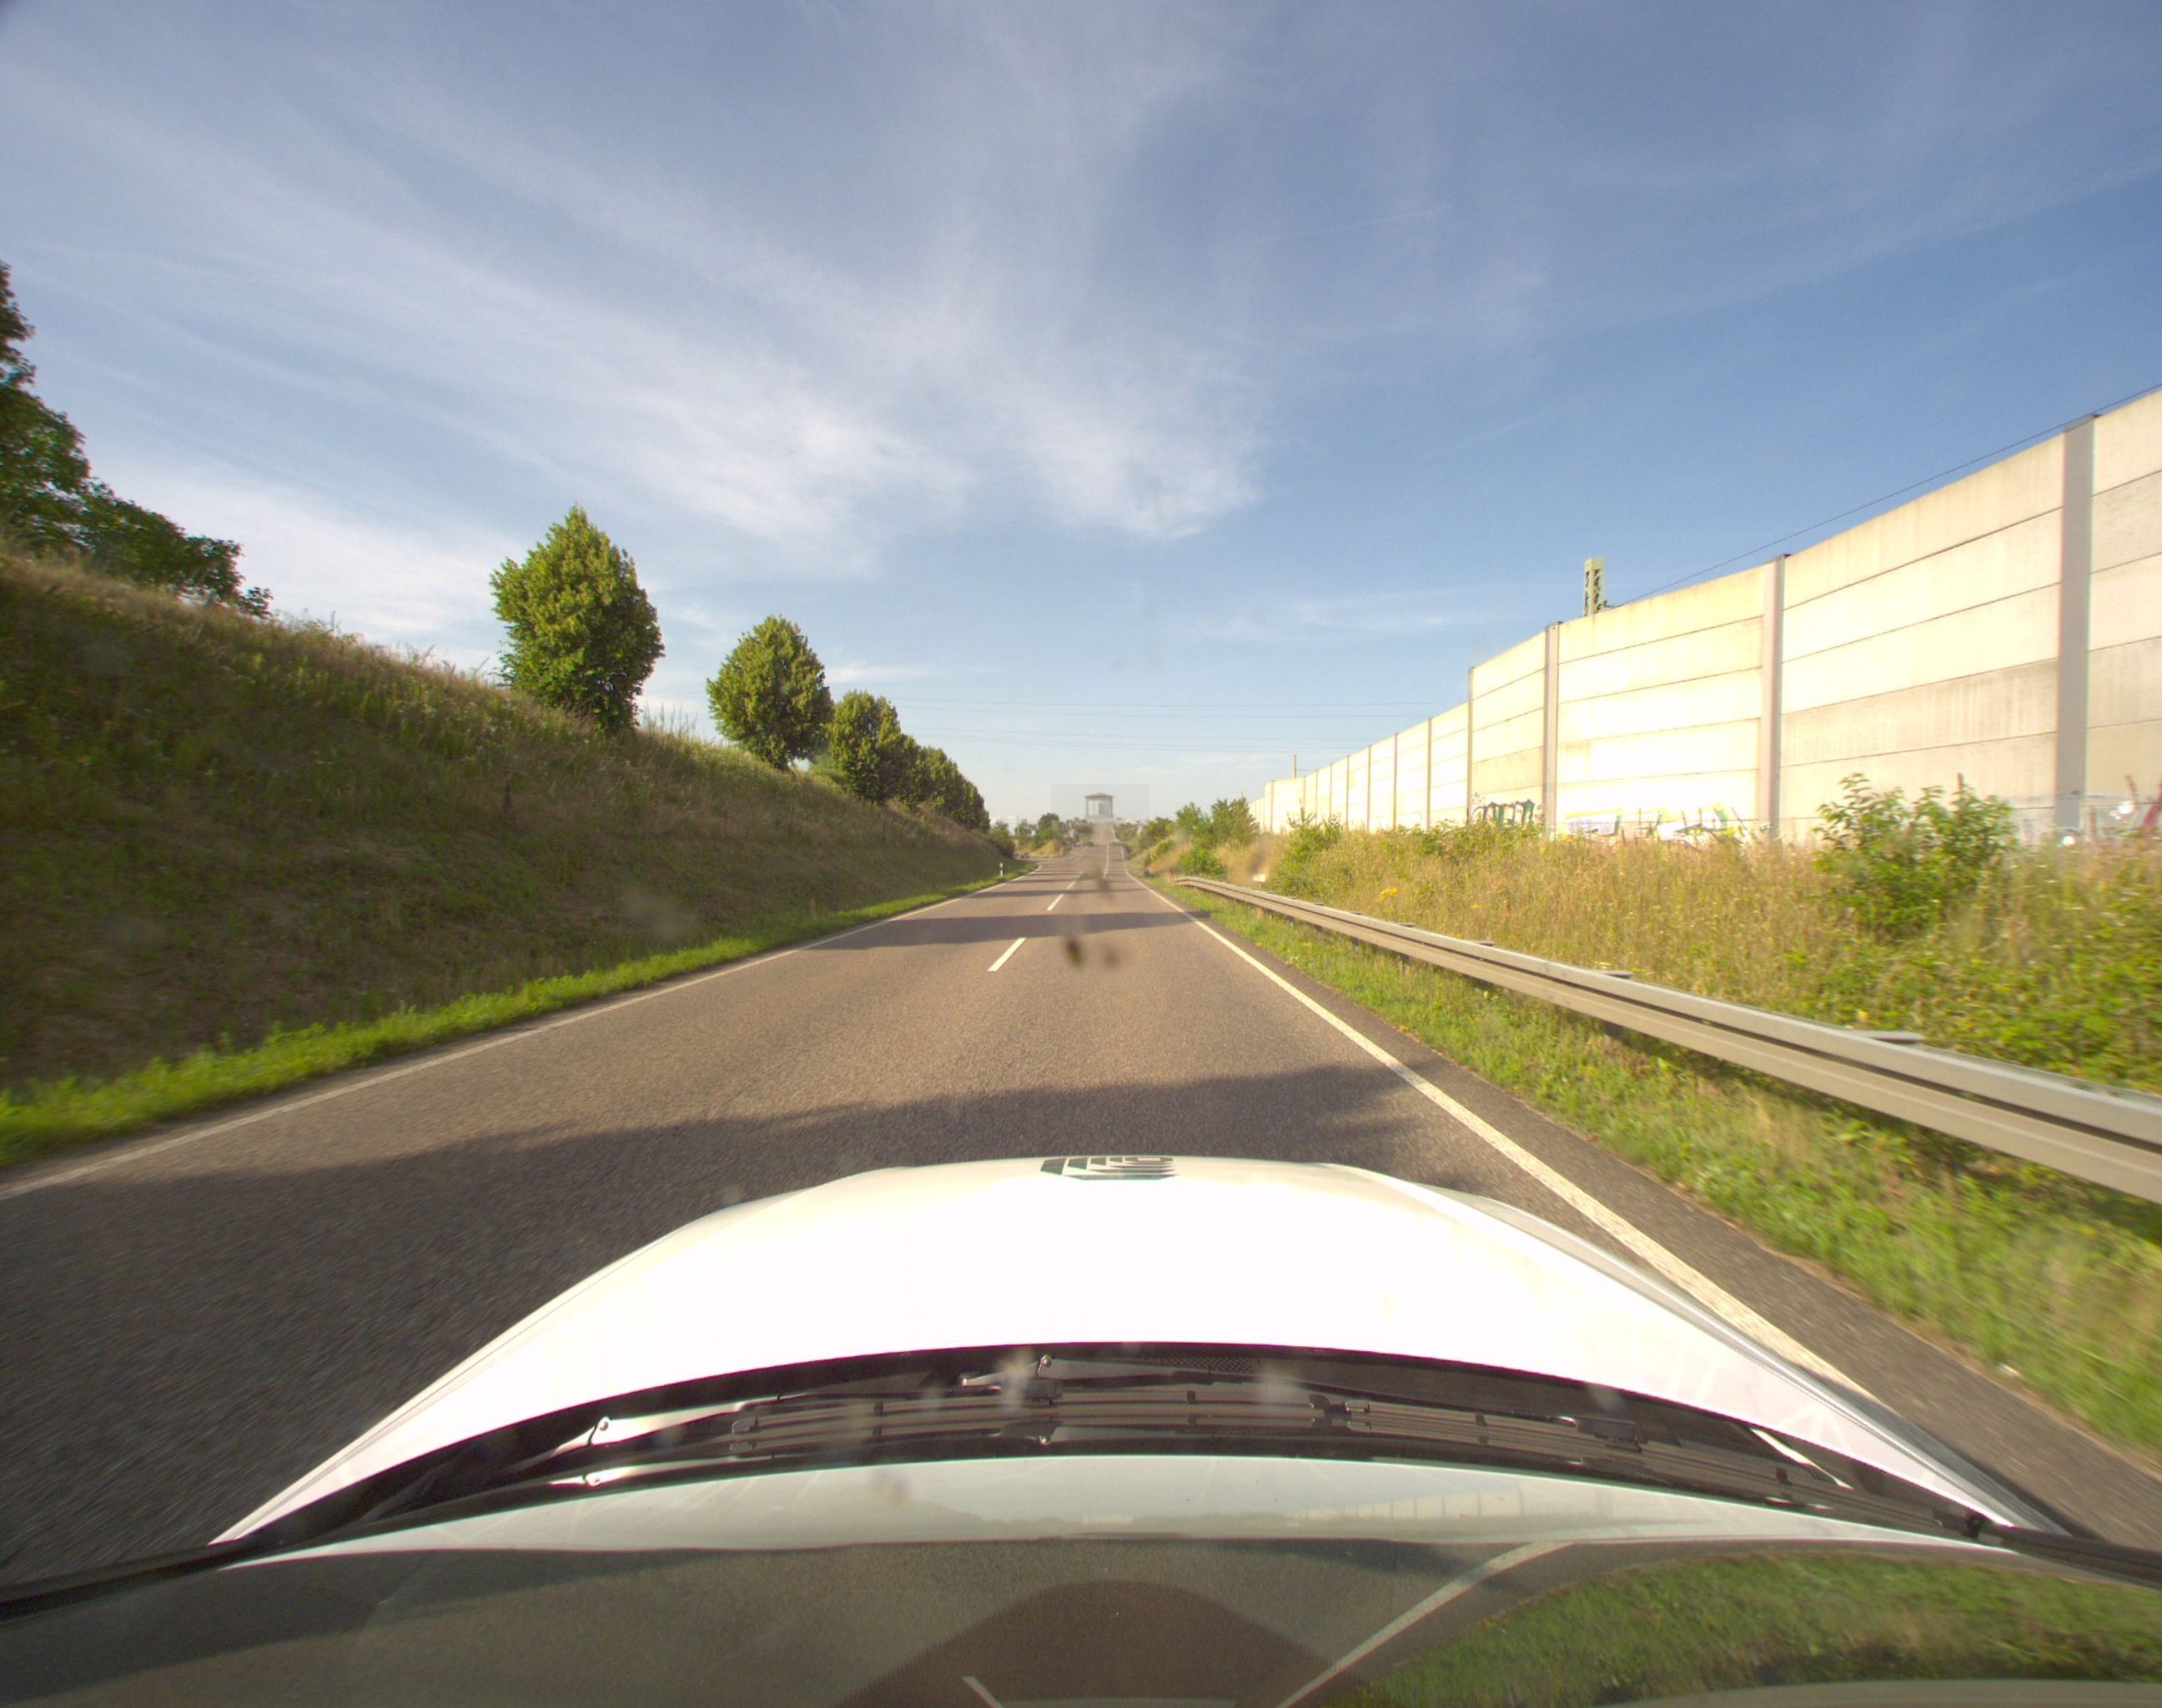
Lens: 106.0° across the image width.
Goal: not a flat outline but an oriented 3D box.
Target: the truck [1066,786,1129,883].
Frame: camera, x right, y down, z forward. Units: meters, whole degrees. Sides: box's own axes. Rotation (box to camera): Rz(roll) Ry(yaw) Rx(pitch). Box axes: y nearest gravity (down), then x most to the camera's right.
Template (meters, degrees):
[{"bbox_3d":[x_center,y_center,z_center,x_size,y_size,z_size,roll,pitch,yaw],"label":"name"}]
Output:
[{"bbox_3d":[0.934,-1.115,49.009,3.279,5.089,12.039,0,1,1],"label":"truck"}]

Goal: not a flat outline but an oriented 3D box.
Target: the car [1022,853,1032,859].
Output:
[{"bbox_3d":[-13.821,0.433,209.524,2.038,1.581,4.362,0,0,2],"label":"car"}]
